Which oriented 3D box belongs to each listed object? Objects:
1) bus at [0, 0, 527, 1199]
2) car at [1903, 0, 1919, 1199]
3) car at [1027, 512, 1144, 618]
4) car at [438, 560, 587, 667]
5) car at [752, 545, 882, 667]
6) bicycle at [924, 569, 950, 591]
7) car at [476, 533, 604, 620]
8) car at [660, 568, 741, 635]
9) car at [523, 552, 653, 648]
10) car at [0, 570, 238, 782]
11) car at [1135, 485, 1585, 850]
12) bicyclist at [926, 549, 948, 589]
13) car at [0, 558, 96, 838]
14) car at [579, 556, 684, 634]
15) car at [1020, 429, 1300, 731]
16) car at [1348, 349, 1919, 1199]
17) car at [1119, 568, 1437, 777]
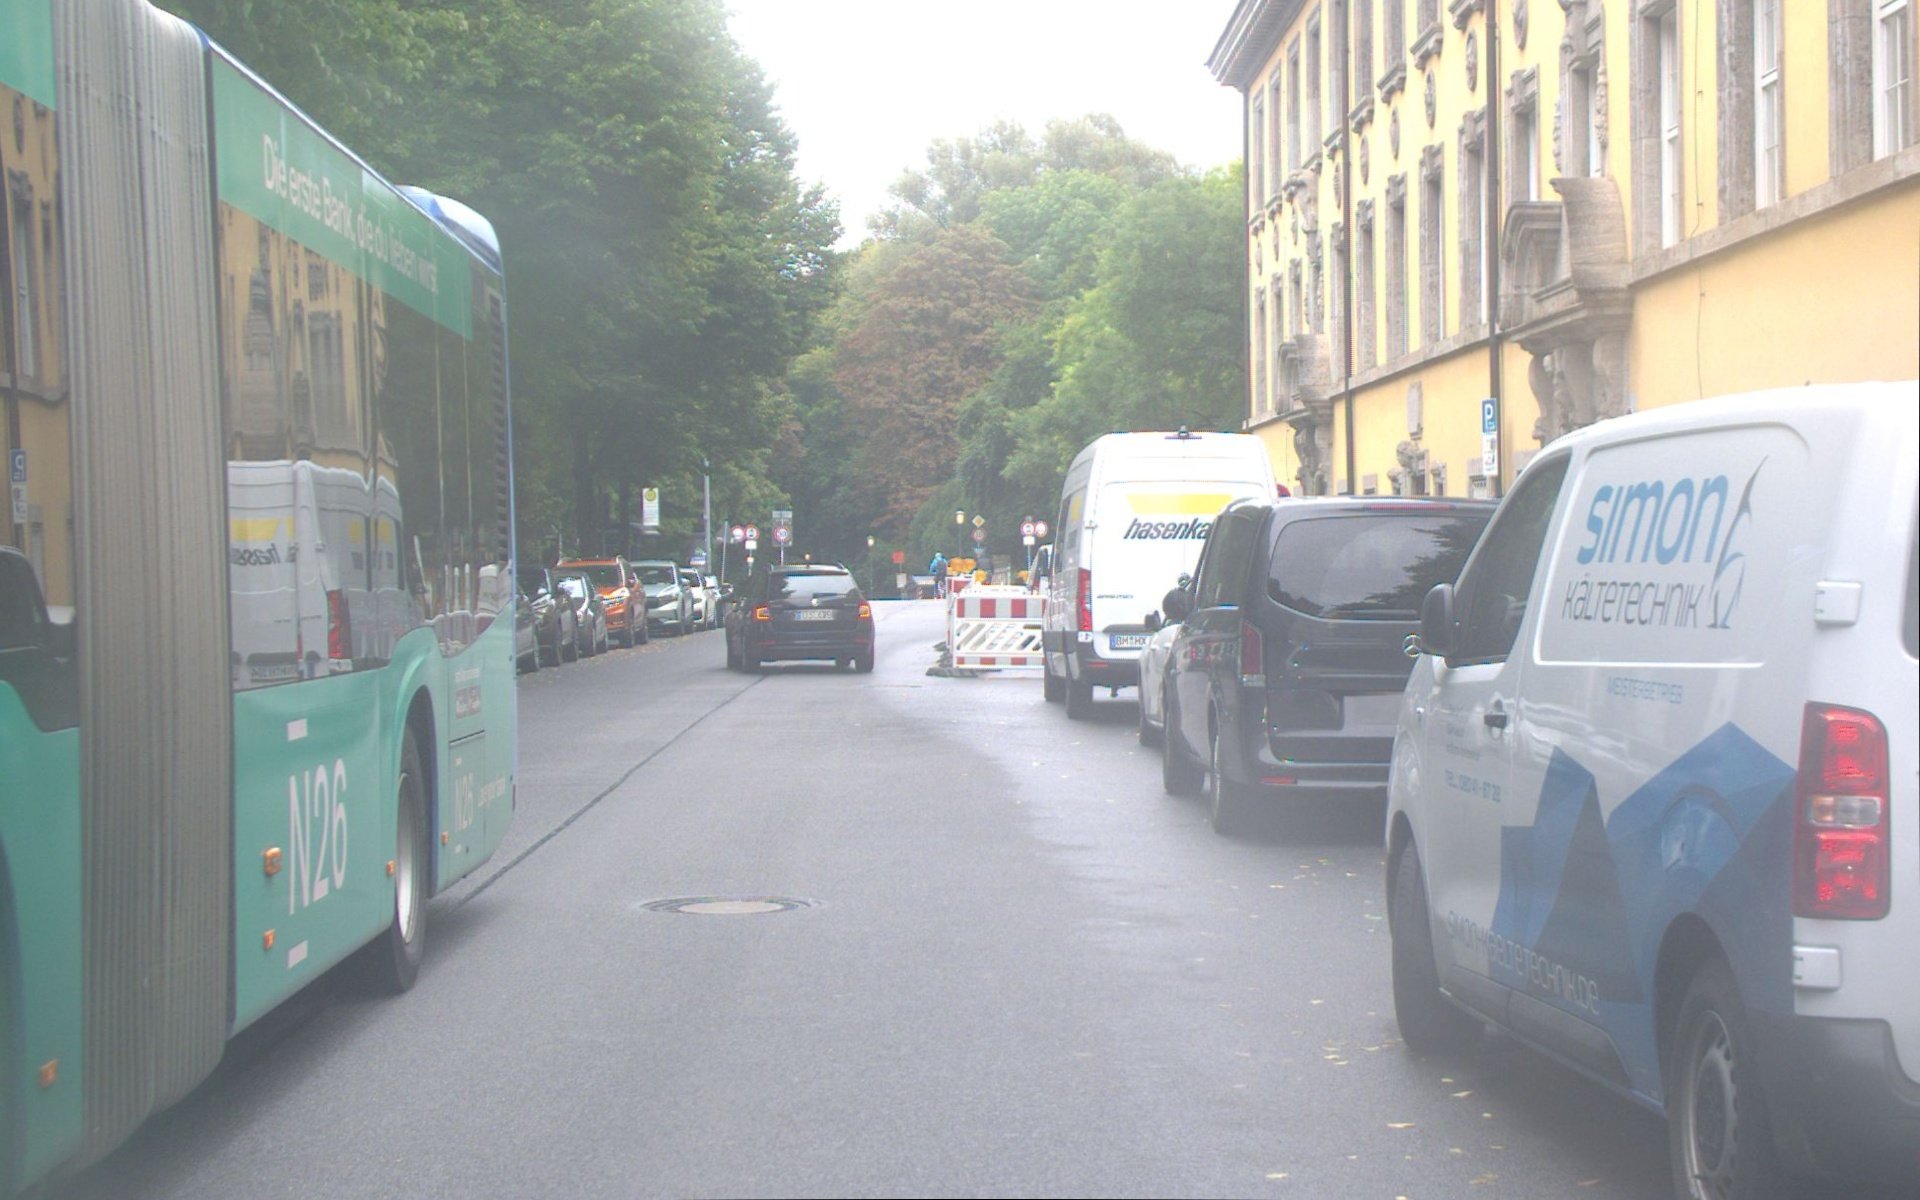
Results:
[{"bbox_3d":[-3.141,-0.199,5.934,2.859,3.228,18.426,0,0,-1],"label":"bus"},{"bbox_3d":[2.413,0.218,1.767,2.095,2.479,5.740,0,0,-2],"label":"car"},{"bbox_3d":[2.123,-0.566,59.111,1.739,1.744,4.356,0,0,-1],"label":"car"},{"bbox_3d":[-6.888,0.169,53.315,1.786,1.569,4.486,0,1,-1],"label":"car"},{"bbox_3d":[-1.910,0.066,46.863,1.577,1.578,4.044,-1,0,0],"label":"car"},{"bbox_3d":[-0.882,-0.768,131.315,0.679,0.827,2.110,0,0,-9],"label":"bicycle"},{"bbox_3d":[-7.161,-0.420,58.918,1.727,1.418,4.251,0,1,-1],"label":"car"},{"bbox_3d":[-5.960,0.010,79.290,1.577,1.492,4.199,-1,0,0],"label":"car"},{"bbox_3d":[-6.977,-0.013,64.893,1.872,1.722,4.641,0,0,1],"label":"car"},{"bbox_3d":[-6.658,0.524,25.986,1.672,1.464,4.104,0,0,-2],"label":"car"},{"bbox_3d":[2.184,0.335,20.163,1.870,1.862,4.987,0,0,-2],"label":"car"},{"bbox_3d":[-0.887,-1.175,131.291,0.680,1.499,0.901,-1,1,-9],"label":"bicyclist"},{"bbox_3d":[-6.371,0.562,19.797,1.784,1.592,4.585,0,0,-2],"label":"car"},{"bbox_3d":[-6.994,-0.117,73.515,1.815,1.596,4.513,-1,0,0],"label":"car"},{"bbox_3d":[1.839,-0.195,34.307,2.054,2.664,7.615,0,0,-2],"label":"car"},{"bbox_3d":[2.372,0.497,8.693,2.013,1.900,5.164,1,0,-2],"label":"car"},{"bbox_3d":[2.336,0.501,26.292,1.870,1.453,4.255,0,0,-2],"label":"car"}]
